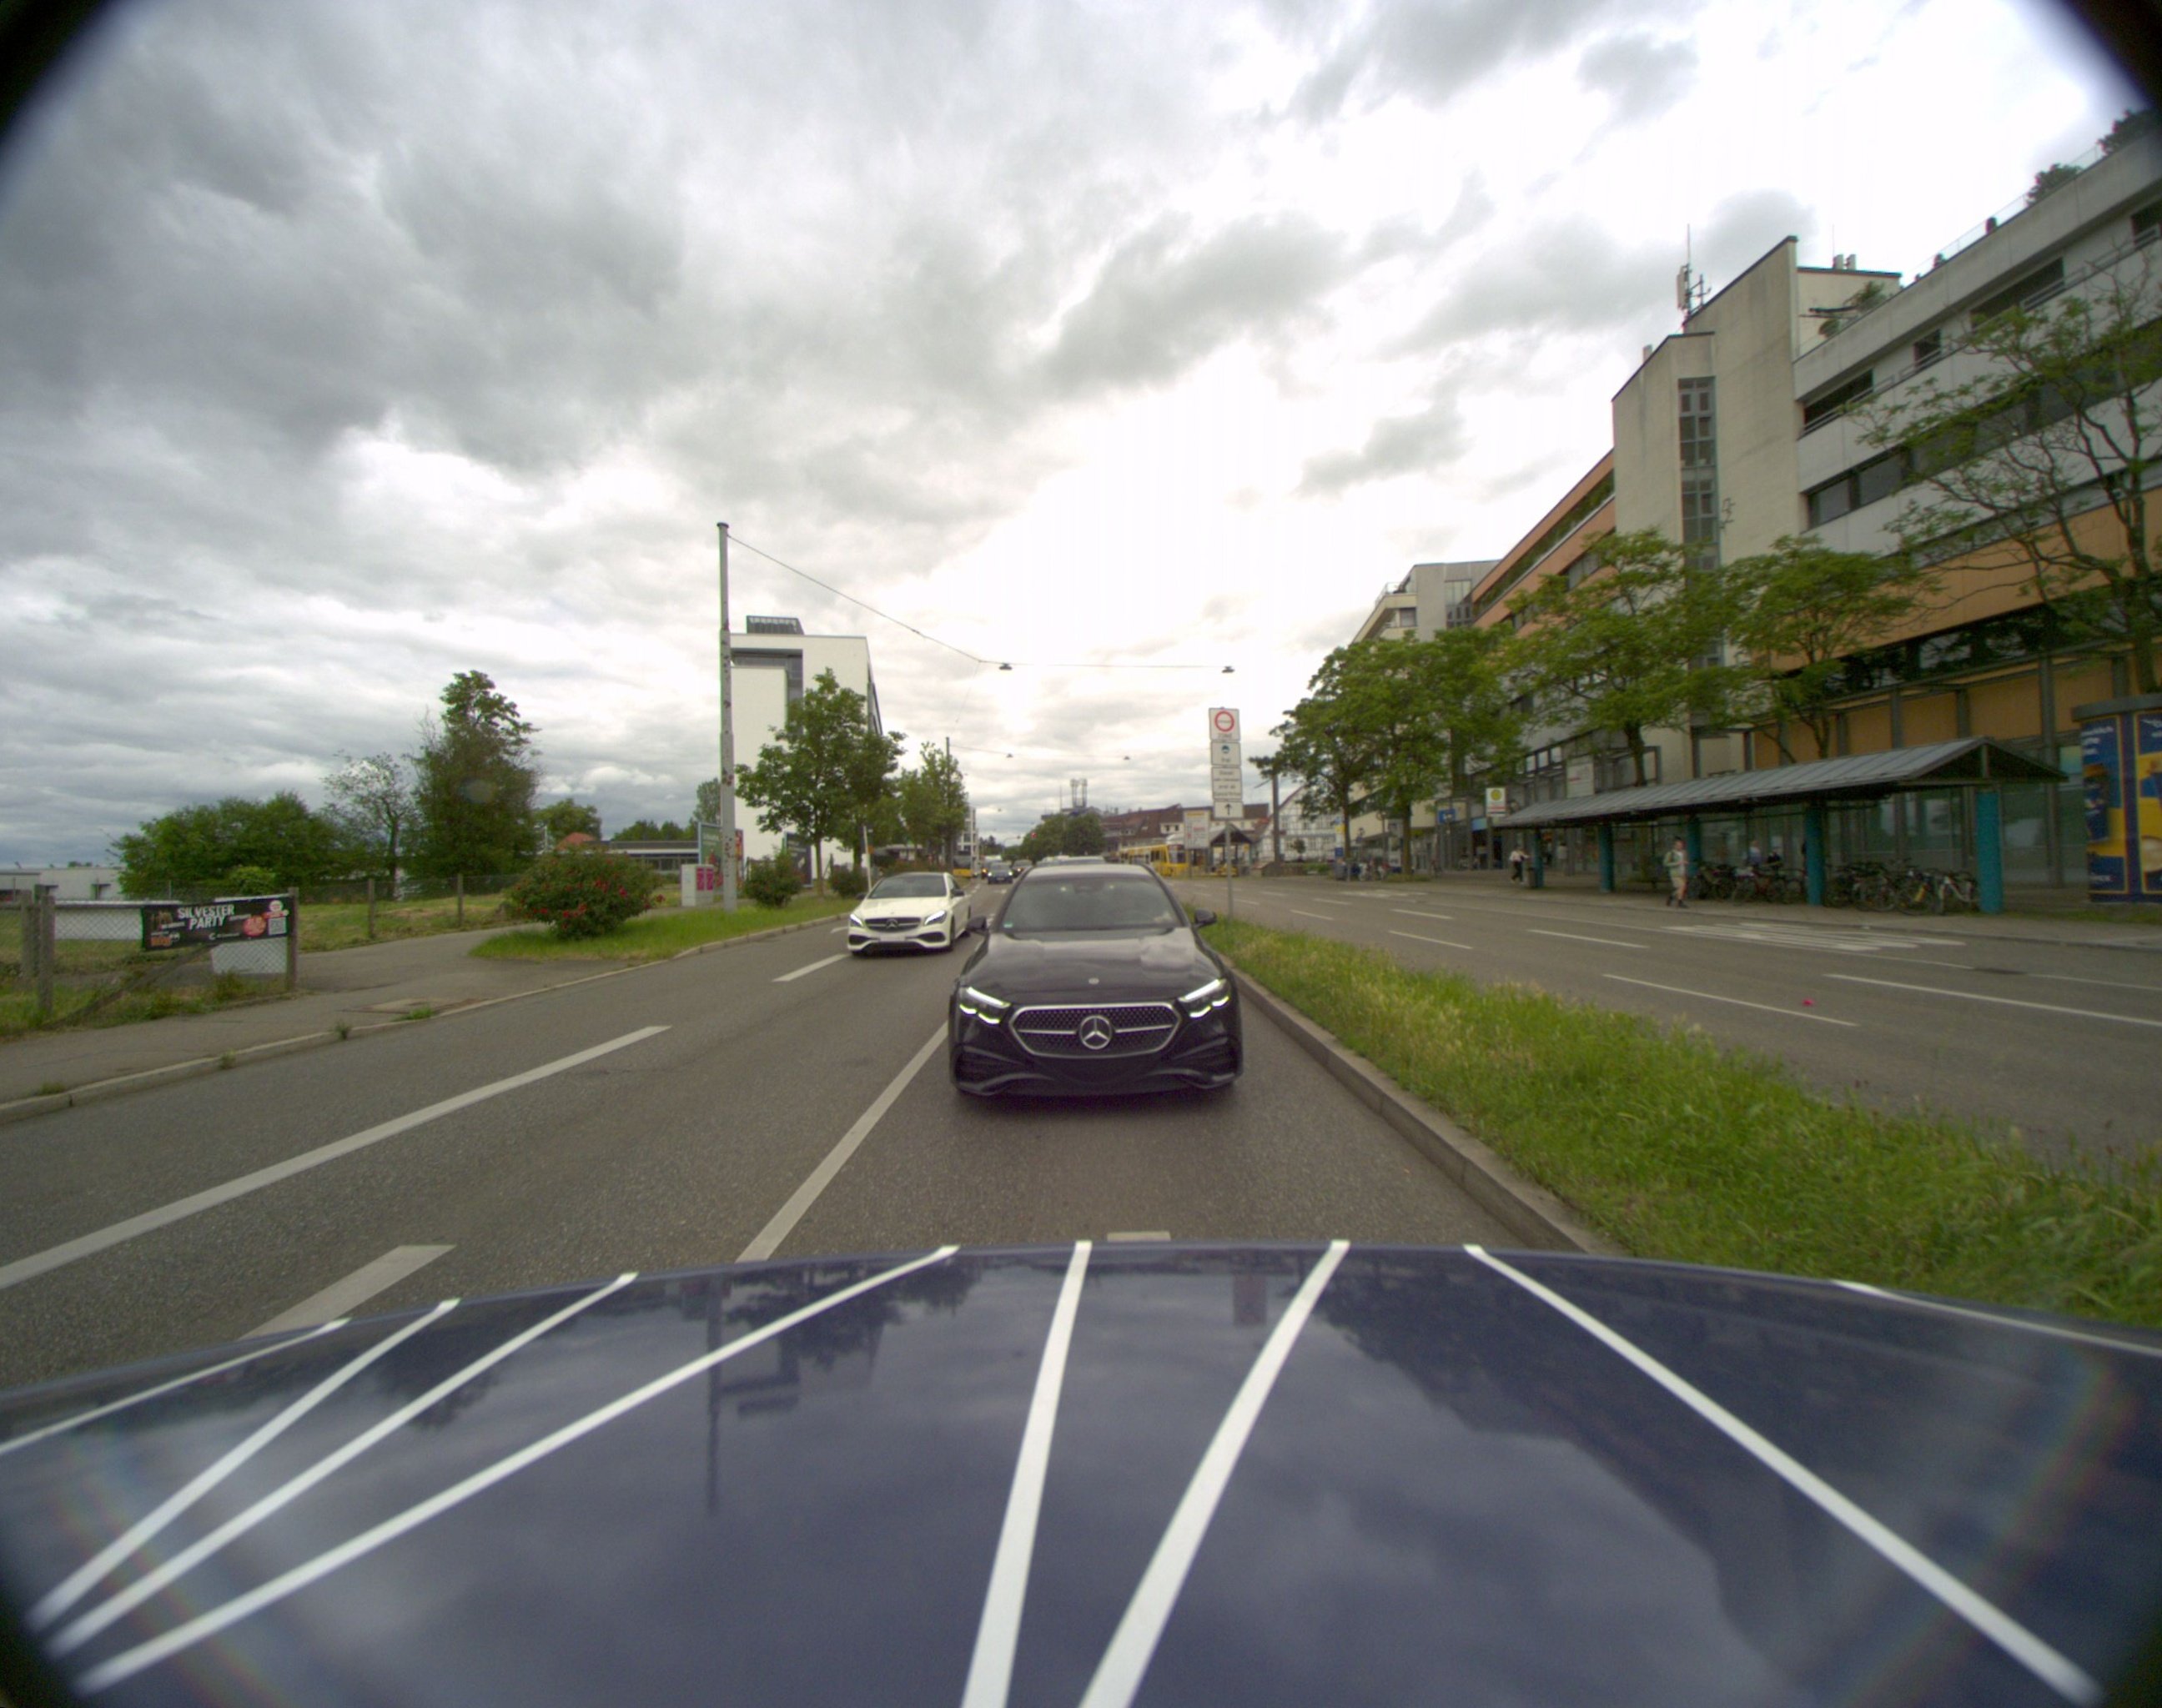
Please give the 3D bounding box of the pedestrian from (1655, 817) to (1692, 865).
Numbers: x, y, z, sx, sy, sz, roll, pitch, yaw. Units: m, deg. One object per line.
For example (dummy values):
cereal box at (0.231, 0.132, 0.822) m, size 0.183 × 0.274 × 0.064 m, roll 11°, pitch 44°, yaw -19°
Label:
pedestrian at (21.931, -0.474, 28.133) m, size 0.774 × 1.706 × 0.787 m, roll -3°, pitch 0°, yaw 18°

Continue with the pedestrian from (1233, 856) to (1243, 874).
pedestrian at (13.979, 0.979, 67.700) m, size 0.601 × 1.564 × 0.620 m, roll -1°, pitch 0°, yaw -10°

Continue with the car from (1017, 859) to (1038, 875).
car at (-5.365, 1.256, 76.123) m, size 1.735 × 1.544 × 4.369 m, roll -2°, pitch 0°, yaw 0°

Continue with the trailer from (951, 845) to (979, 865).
trailer at (-27.845, 0.391, 181.708) m, size 3.116 × 4.243 × 14.822 m, roll -1°, pitch -2°, yaw -23°

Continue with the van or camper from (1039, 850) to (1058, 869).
van or camper at (-4.767, 0.826, 110.185) m, size 2.000 × 2.582 × 6.111 m, roll 1°, pitch -1°, yaw -9°

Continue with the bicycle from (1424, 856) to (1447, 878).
bicycle at (19.295, 0.681, 41.335) m, size 0.672 × 1.154 × 2.023 m, roll -1°, pitch -1°, yaw 39°

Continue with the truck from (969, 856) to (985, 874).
truck at (-23.226, 2.449, 169.381) m, size 2.948 × 3.934 × 9.158 m, roll 1°, pitch -2°, yaw -10°

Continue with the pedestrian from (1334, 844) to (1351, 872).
pedestrian at (18.121, 0.280, 52.604) m, size 0.747 × 1.866 × 0.873 m, roll -1°, pitch 0°, yaw -8°

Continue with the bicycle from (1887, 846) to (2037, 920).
bicycle at (18.869, 0.602, 16.280) m, size 2.908 × 1.498 × 0.598 m, roll -1°, pitch 0°, yaw -8°

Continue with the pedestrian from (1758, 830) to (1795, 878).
pedestrian at (23.939, 0.007, 26.143) m, size 0.634 × 1.590 × 0.622 m, roll -3°, pitch 0°, yaw -5°

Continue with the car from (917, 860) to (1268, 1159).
car at (0.005, 0.907, 6.667) m, size 1.873 × 1.542 × 4.773 m, roll -4°, pitch -1°, yaw -2°

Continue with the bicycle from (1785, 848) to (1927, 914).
bicycle at (18.593, 0.627, 18.248) m, size 2.908 × 1.498 × 0.805 m, roll -1°, pitch 0°, yaw -8°

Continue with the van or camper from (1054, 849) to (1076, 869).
van or camper at (-2.159, 0.721, 100.928) m, size 2.039 × 2.582 × 6.111 m, roll 1°, pitch -1°, yaw -10°

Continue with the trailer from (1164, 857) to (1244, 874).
trailer at (10.671, 1.025, 67.668) m, size 2.851 × 1.325 × 12.115 m, roll -1°, pitch -1°, yaw -12°

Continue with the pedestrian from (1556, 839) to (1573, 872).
pedestrian at (23.992, 0.061, 37.741) m, size 0.633 × 1.590 × 0.624 m, roll -3°, pitch 0°, yaw 31°

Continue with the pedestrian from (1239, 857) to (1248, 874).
pedestrian at (14.631, 1.026, 68.552) m, size 0.601 × 1.564 × 0.620 m, roll -1°, pitch 0°, yaw -10°

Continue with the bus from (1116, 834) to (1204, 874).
bus at (8.189, 0.135, 83.484) m, size 3.891 × 3.836 × 19.324 m, roll -1°, pitch -1°, yaw -12°

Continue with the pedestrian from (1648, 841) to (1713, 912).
pedestrian at (16.039, 0.580, 20.358) m, size 0.705 × 1.812 × 1.213 m, roll -3°, pitch 1°, yaw -3°

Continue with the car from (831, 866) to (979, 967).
car at (-3.205, 1.069, 14.878) m, size 1.873 × 1.496 × 4.772 m, roll -2°, pitch 0°, yaw -2°

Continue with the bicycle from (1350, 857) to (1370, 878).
bicycle at (15.361, 0.732, 41.769) m, size 0.603 × 1.154 × 1.969 m, roll -1°, pitch -1°, yaw 32°

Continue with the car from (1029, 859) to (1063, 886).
car at (-1.988, 1.036, 44.160) m, size 1.735 × 1.474 × 4.369 m, roll -2°, pitch 0°, yaw 0°

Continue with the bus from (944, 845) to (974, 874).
bus at (-14.497, 0.678, 89.723) m, size 3.047 × 3.216 × 9.329 m, roll -1°, pitch -1°, yaw -12°

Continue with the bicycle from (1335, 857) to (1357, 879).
bicycle at (14.821, 0.766, 42.467) m, size 0.603 × 1.154 × 1.969 m, roll -4°, pitch -1°, yaw 33°

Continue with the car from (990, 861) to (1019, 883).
car at (-5.490, 1.271, 55.162) m, size 1.735 × 1.474 × 4.368 m, roll -2°, pitch 0°, yaw -2°

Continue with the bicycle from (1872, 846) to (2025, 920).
bicycle at (18.845, 0.613, 16.517) m, size 2.908 × 1.498 × 0.700 m, roll -1°, pitch 0°, yaw -8°

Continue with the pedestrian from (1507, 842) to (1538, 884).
pedestrian at (18.817, 0.380, 32.384) m, size 0.777 × 1.703 × 0.706 m, roll -3°, pitch 0°, yaw -5°

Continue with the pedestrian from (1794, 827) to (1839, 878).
pedestrian at (25.979, -0.049, 26.854) m, size 0.772 × 1.706 × 0.789 m, roll -3°, pitch 0°, yaw -6°

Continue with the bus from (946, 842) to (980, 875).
bus at (-12.565, 0.504, 80.422) m, size 2.993 × 3.222 × 9.856 m, roll -1°, pitch -1°, yaw -12°

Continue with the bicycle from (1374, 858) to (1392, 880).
bicycle at (16.189, 0.794, 40.678) m, size 0.603 × 1.154 × 1.693 m, roll -1°, pitch -1°, yaw 31°

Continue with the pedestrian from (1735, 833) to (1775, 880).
pedestrian at (23.153, 0.092, 26.113) m, size 0.668 × 1.574 × 0.706 m, roll -3°, pitch 0°, yaw -5°

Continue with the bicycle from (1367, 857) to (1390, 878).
bicycle at (16.472, 0.741, 42.117) m, size 0.604 × 1.154 × 1.966 m, roll -1°, pitch -1°, yaw 4°

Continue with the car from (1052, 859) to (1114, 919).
car at (0.064, 1.043, 24.257) m, size 1.735 × 1.680 × 4.369 m, roll -2°, pitch 0°, yaw 0°

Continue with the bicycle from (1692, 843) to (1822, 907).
bicycle at (18.280, 0.550, 20.563) m, size 2.908 × 1.498 × 0.891 m, roll -4°, pitch 0°, yaw -8°

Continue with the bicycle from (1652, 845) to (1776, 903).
bicycle at (18.091, 0.559, 21.732) m, size 2.908 × 1.498 × 0.972 m, roll -3°, pitch 0°, yaw -8°

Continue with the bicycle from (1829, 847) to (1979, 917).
bicycle at (18.758, 0.623, 17.332) m, size 2.908 × 1.498 × 0.778 m, roll -1°, pitch 0°, yaw -8°

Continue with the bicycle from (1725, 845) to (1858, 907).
bicycle at (18.362, 0.553, 19.654) m, size 2.908 × 1.498 × 0.811 m, roll -1°, pitch 0°, yaw -6°
